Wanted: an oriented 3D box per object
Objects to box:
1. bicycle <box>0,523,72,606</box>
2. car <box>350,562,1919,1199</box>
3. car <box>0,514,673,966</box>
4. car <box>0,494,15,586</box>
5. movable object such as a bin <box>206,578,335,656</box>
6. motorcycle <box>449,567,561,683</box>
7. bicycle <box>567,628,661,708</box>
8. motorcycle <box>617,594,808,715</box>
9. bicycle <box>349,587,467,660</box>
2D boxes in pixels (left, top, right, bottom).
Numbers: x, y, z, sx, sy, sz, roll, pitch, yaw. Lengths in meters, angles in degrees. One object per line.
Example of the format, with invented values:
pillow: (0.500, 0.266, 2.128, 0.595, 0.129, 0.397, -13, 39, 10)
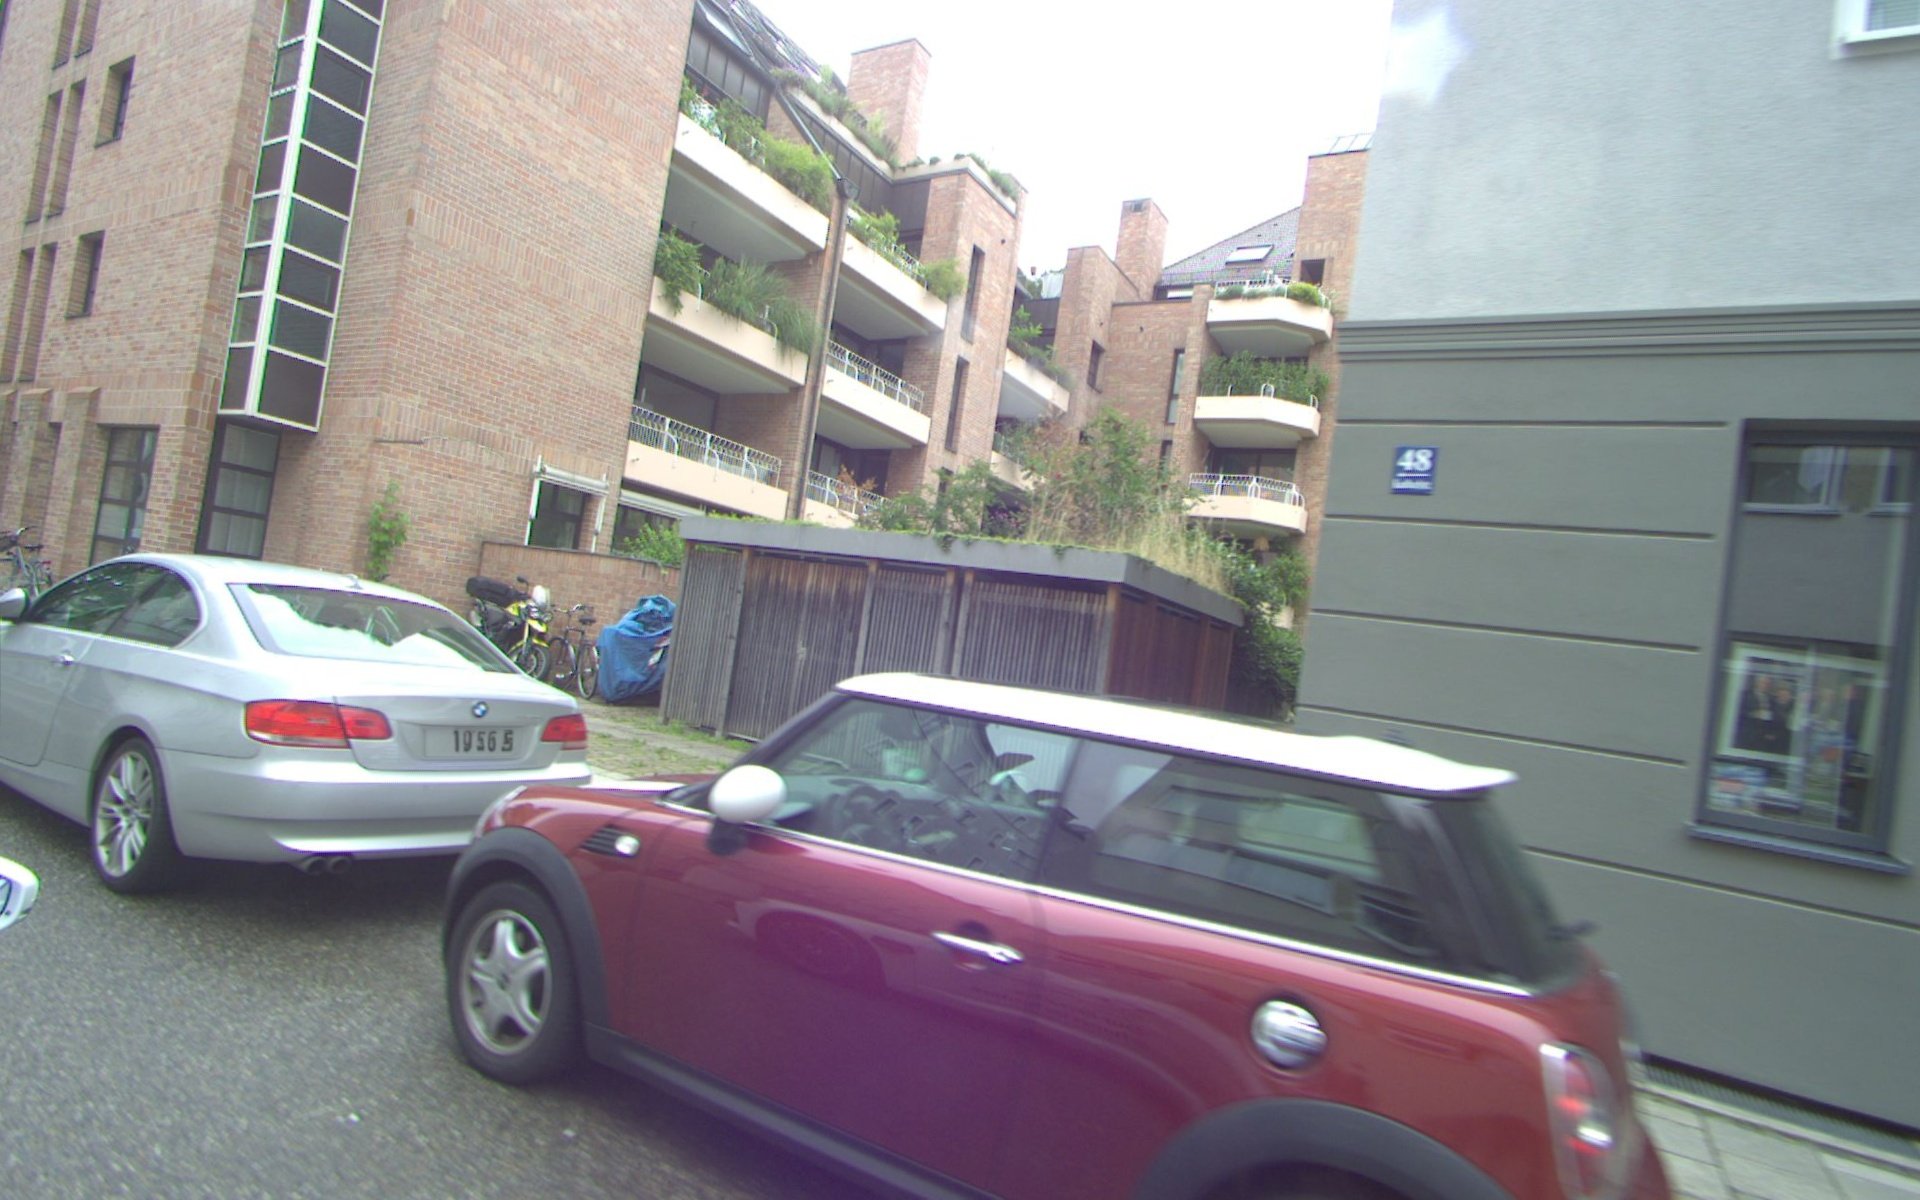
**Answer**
bicycle: (-14.169, -0.549, 15.251, 1.447, 1.091, 0.561, 7, -2, 32)
car: (0.258, 0.918, 3.066, 4.080, 1.478, 1.751, 7, -3, 30)
car: (-3.958, 0.459, 5.505, 4.523, 1.433, 1.842, 7, -3, 30)
car: (-12.144, -0.629, 10.565, 4.316, 1.572, 1.891, 7, -3, 29)
movable object such as a bin: (-9.114, 0.240, 13.326, 0.830, 0.841, 1.089, 7, -2, 32)
motorcycle: (-6.173, 0.306, 13.593, 1.914, 1.360, 0.539, 6, -1, 43)
bicycle: (-4.506, 0.876, 13.059, 1.300, 0.869, 0.375, 6, -1, 35)
motorcycle: (-3.136, 0.761, 13.083, 0.542, 1.358, 2.517, 6, -2, 36)
bicycle: (-7.597, 0.344, 13.889, 0.407, 0.869, 1.319, 6, -2, 31)
